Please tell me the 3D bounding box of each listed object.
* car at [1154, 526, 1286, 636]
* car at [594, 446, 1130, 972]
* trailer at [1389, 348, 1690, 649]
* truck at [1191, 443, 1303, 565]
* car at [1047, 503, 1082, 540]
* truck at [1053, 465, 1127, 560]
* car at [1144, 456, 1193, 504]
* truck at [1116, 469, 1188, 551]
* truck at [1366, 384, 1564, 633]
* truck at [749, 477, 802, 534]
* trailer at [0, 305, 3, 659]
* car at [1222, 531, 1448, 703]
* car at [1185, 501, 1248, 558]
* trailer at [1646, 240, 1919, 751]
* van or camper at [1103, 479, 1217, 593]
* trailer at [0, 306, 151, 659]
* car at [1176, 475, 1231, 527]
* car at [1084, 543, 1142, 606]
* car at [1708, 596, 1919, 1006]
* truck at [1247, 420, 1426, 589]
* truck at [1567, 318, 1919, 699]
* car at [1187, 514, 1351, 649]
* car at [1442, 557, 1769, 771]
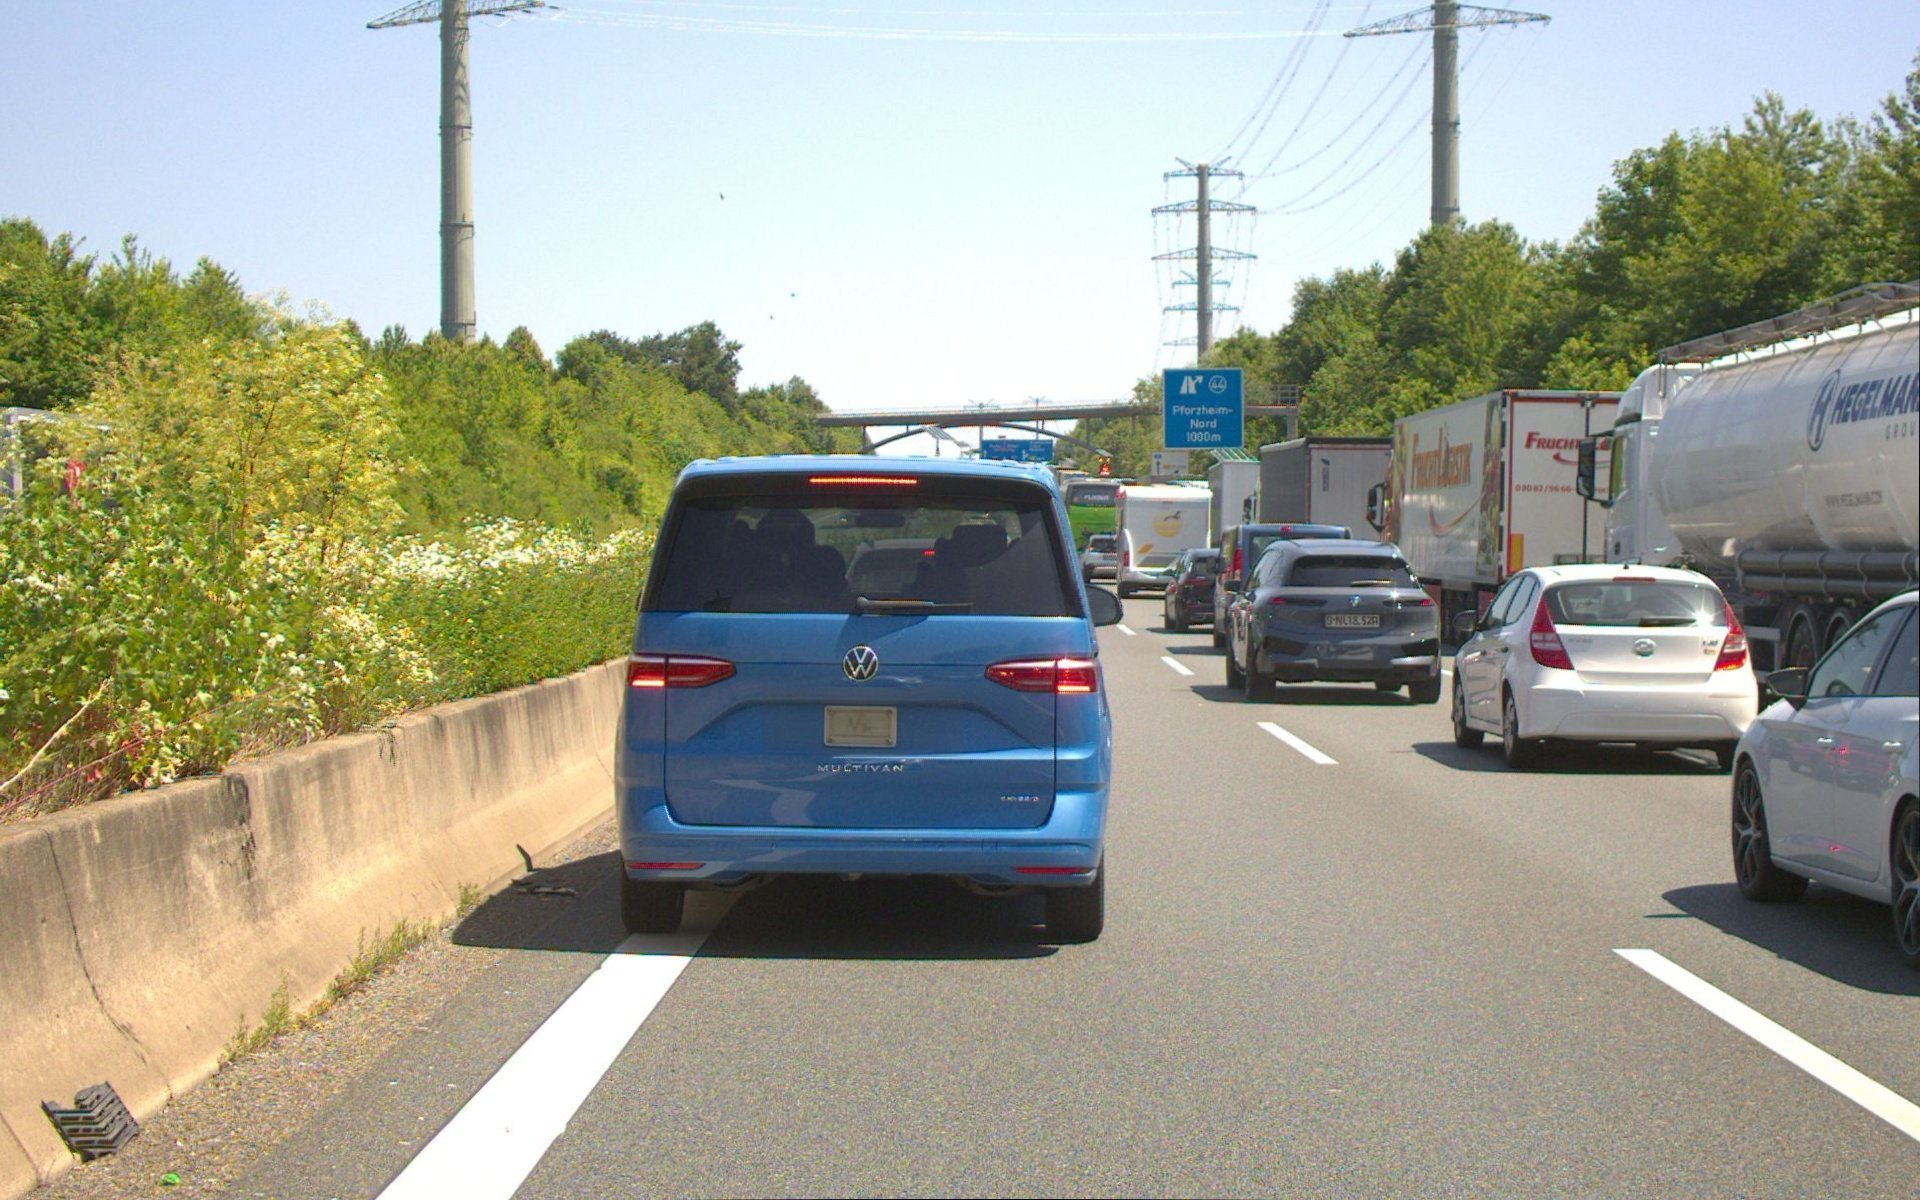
[{"bbox_3d":[4.735,-0.336,63.133,1.923,1.919,4.236,-1,0,-2],"label":"car"},{"bbox_3d":[-0.340,0.363,14.494,1.920,1.880,4.000,1,1,1],"label":"car"},{"bbox_3d":[9.409,-1.582,57.369,2.912,4.453,12.154,-1,1,0],"label":"trailer"},{"bbox_3d":[9.410,-3.078,114.102,2.895,3.754,13.344,0,0,1],"label":"truck"},{"bbox_3d":[6.265,-4.704,206.102,1.993,2.118,4.000,0,0,0],"label":"car"},{"bbox_3d":[5.358,-3.583,142.933,2.895,3.754,10.140,0,0,1],"label":"truck"},{"bbox_3d":[9.295,-5.342,153.579,1.993,2.007,4.000,0,0,1],"label":"car"},{"bbox_3d":[10.966,-5.128,197.484,3.566,4.502,10.293,0,0,0],"label":"truck"},{"bbox_3d":[9.388,-1.673,64.390,2.912,4.453,5.143,-1,1,0],"label":"truck"},{"bbox_3d":[-12.924,-6.591,241.828,2.911,3.806,11.944,1,1,0],"label":"truck"},{"bbox_3d":[-15.337,-1.651,45.671,3.322,5.030,6.704,0,0,0],"label":"trailer"},{"bbox_3d":[3.965,0.173,37.053,1.999,1.709,4.625,-1,0,1],"label":"car"},{"bbox_3d":[9.196,-2.516,123.588,1.993,2.007,4.000,0,0,1],"label":"car"},{"bbox_3d":[8.575,-0.842,30.200,2.761,3.832,11.486,-1,1,0],"label":"trailer"},{"bbox_3d":[5.457,-1.724,94.780,2.957,3.012,7.102,0,0,2],"label":"van or camper"},{"bbox_3d":[-15.263,-1.693,52.717,3.322,5.030,9.591,0,0,1],"label":"trailer"},{"bbox_3d":[9.911,-4.030,140.160,1.993,2.007,4.000,0,0,1],"label":"car"},{"bbox_3d":[5.018,-0.822,113.264,1.836,1.992,4.000,-1,0,2],"label":"car"},{"bbox_3d":[4.271,0.699,13.586,1.747,1.438,4.313,-1,0,1],"label":"car"},{"bbox_3d":[9.028,-2.181,84.364,3.006,3.754,15.712,0,0,1],"label":"truck"},{"bbox_3d":[8.537,-0.954,37.548,2.793,3.823,5.572,-1,1,0],"label":"truck"},{"bbox_3d":[4.639,-0.265,52.136,1.923,1.919,4.236,-1,0,-2],"label":"car"},{"bbox_3d":[4.788,0.449,26.002,1.817,1.480,4.000,-1,0,2],"label":"car"}]
